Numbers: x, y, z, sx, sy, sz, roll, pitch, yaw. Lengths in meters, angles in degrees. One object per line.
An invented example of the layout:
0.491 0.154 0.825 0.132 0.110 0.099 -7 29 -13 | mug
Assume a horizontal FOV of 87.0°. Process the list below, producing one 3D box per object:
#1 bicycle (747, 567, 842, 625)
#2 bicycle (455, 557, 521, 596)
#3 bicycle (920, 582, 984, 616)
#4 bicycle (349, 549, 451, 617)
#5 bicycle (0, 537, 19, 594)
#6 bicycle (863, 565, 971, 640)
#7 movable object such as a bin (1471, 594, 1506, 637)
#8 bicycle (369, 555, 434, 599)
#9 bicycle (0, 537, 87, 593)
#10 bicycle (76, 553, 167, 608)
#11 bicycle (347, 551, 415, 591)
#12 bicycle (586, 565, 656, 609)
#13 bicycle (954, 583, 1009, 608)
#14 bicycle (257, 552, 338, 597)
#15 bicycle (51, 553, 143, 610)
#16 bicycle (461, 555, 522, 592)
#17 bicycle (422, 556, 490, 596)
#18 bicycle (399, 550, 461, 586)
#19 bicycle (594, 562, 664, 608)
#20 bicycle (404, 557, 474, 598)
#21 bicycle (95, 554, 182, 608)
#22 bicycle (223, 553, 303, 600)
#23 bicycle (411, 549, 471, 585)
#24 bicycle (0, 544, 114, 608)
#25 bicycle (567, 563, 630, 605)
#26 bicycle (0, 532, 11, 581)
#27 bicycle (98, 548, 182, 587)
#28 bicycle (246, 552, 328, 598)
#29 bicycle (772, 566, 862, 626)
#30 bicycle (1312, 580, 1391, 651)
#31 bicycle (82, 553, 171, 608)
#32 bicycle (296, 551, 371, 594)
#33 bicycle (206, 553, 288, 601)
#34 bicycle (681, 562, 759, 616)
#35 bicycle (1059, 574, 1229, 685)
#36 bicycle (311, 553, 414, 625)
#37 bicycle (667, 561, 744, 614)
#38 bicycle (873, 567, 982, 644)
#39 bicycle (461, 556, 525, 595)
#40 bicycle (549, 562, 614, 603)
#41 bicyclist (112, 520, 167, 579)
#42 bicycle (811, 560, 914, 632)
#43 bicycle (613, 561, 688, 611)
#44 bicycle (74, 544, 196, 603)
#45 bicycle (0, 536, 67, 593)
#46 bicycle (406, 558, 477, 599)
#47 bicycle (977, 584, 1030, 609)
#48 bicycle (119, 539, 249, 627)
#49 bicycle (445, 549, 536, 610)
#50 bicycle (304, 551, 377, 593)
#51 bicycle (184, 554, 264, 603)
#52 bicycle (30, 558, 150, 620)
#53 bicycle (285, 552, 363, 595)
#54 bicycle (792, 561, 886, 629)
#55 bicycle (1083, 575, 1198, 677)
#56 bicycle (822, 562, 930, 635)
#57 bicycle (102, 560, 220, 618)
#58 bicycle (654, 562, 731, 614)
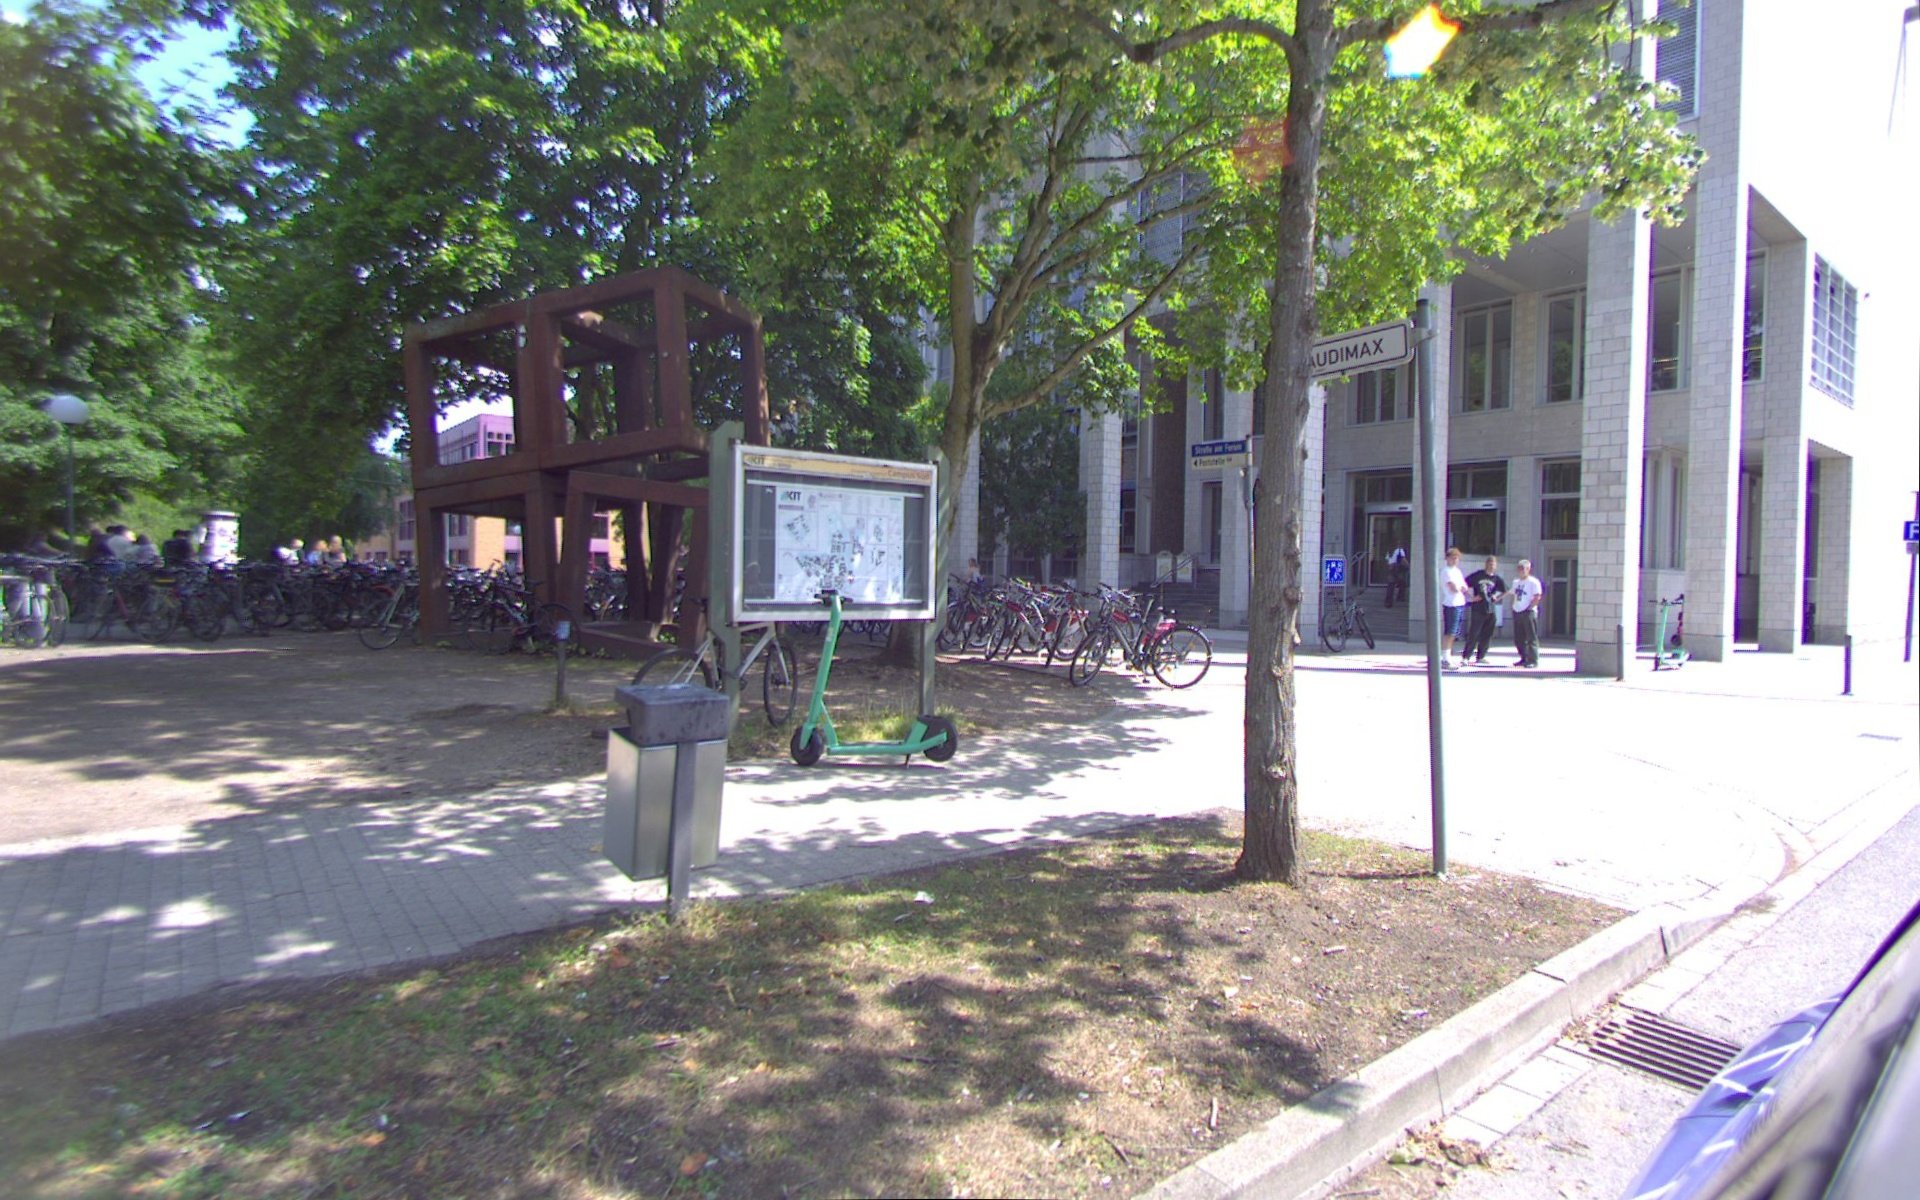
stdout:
-3.151 -0.068 19.313 1.662 1.060 0.618 1 -1 -31 | bicycle
-13.875 -0.692 29.772 1.654 1.097 0.479 1 -1 -7 | bicycle
-0.230 -0.030 28.838 1.739 0.911 0.449 1 0 -20 | bicycle
-10.321 -0.325 18.656 1.817 1.185 0.412 2 1 13 | bicycle
-17.533 -0.633 17.963 1.572 0.991 0.402 3 2 13 | bicycle
-0.691 0.049 16.544 1.663 1.139 0.566 2 2 -34 | bicycle
12.474 0.365 23.872 0.503 0.960 0.513 1 4 -40 | movable object such as a bin
-14.607 -0.600 26.496 1.441 1.097 0.353 1 -1 -10 | bicycle
-17.431 -0.663 19.065 1.770 0.991 0.378 2 2 6 | bicycle
-16.990 -0.392 20.519 1.442 1.097 0.353 1 -1 -5 | bicycle
-16.490 -0.814 28.851 1.656 1.097 0.478 1 -1 0 | bicycle
-8.850 -0.321 26.460 1.660 1.097 0.477 1 -1 -43 | bicycle
0.741 -0.157 35.271 1.983 0.769 0.634 4 2 42 | bicycle
-16.829 -0.646 25.720 1.654 1.097 0.479 1 -1 -6 | bicycle
-16.971 -0.353 19.908 1.442 1.097 0.353 0 -1 -4 | bicycle
-14.336 -0.801 31.015 1.653 1.097 0.479 1 -1 -20 | bicycle
-14.382 -0.674 28.919 1.654 1.097 0.479 1 -1 -7 | bicycle
-16.556 -0.991 31.637 1.655 1.097 0.479 1 -1 -2 | bicycle
-8.520 -0.375 26.099 1.660 1.144 0.477 2 -2 -44 | bicycle
-14.432 -0.625 28.073 1.654 1.097 0.479 1 -1 -7 | bicycle
-17.209 -0.385 21.221 1.442 1.097 0.353 1 -1 -5 | bicycle
-16.870 -0.566 24.509 1.659 1.097 0.478 1 -1 6 | bicycle
-16.645 -1.050 32.460 1.655 1.097 0.479 1 -1 -2 | bicycle
-15.307 -0.422 17.155 1.876 0.991 0.477 3 2 14 | bicycle
-10.034 -0.426 28.128 0.476 1.097 1.665 0 -1 37 | bicycle
-22.573 -1.012 23.096 1.582 1.107 0.348 2 2 3 | bicycle
-21.069 -0.859 26.040 0.577 0.942 1.749 4 3 8 | bicycle
-16.774 -0.612 25.238 1.654 1.097 0.479 1 -1 -6 | bicycle
-2.622 -0.065 18.698 0.566 1.060 1.669 -1 -1 43 | bicycle
7.310 0.260 18.861 1.797 1.257 0.531 -1 3 -40 | bicycle
-17.174 -0.392 20.864 1.442 1.097 0.353 1 -1 -5 | bicycle
-16.726 -0.720 27.032 1.654 1.097 0.479 1 -1 -6 | bicycle
-16.921 -0.540 24.031 1.659 1.097 0.478 1 -1 6 | bicycle
-5.230 -0.224 22.108 1.660 1.144 0.453 2 -2 -44 | bicycle
2.067 0.327 11.482 1.750 1.155 0.607 2 3 -6 | bicycle
-10.438 -0.202 17.674 1.820 1.185 0.434 2 1 17 | bicycle
-5.669 -0.259 22.586 1.660 1.144 0.453 2 -2 -44 | bicycle
-0.503 0.093 16.048 1.663 1.139 0.482 2 2 -34 | bicycle
-13.940 -0.726 30.245 1.654 1.097 0.479 1 -1 -7 | bicycle
-10.687 -0.490 28.640 1.660 1.097 0.477 2 -2 -44 | bicycle
-21.069 -1.292 25.996 0.732 1.464 0.801 2 1 8 | bicyclist
-1.698 -0.055 17.718 1.665 1.164 0.628 2 2 -37 | bicycle
-7.361 -0.308 24.131 1.660 1.144 0.453 2 -2 -44 | bicycle
-14.922 -0.481 18.311 1.869 0.991 0.478 2 2 3 | bicycle
-17.471 -0.670 18.688 1.770 0.991 0.378 2 2 6 | bicycle
-14.131 -0.576 27.620 1.654 1.097 0.479 1 -1 -7 | bicycle
1.517 -0.120 35.661 0.632 0.769 1.988 2 2 -41 | bicycle
-11.196 -0.260 14.603 1.817 1.185 0.412 2 1 13 | bicycle
-9.682 -0.424 20.879 1.817 1.185 0.412 2 1 13 | bicycle
-16.827 -0.753 27.498 1.656 1.097 0.478 1 -1 0 | bicycle
-16.848 -0.482 23.185 1.441 1.097 0.353 1 -1 -12 | bicycle
-15.117 -0.208 17.586 1.872 0.991 0.477 2 2 9 | bicycle
-16.670 -0.687 26.549 1.654 1.097 0.479 1 -1 -6 | bicycle
-2.159 -0.067 18.221 0.625 1.165 1.670 0 -1 43 | bicycle
2.239 0.292 12.456 1.464 1.155 0.561 -1 4 -41 | bicycle
-1.404 -0.020 17.043 1.663 1.139 0.628 2 2 -34 | bicycle
-14.877 -0.217 18.853 1.869 0.991 0.478 2 2 3 | bicycle
-6.070 -0.259 23.013 1.660 1.144 0.453 2 -2 -44 | bicycle
